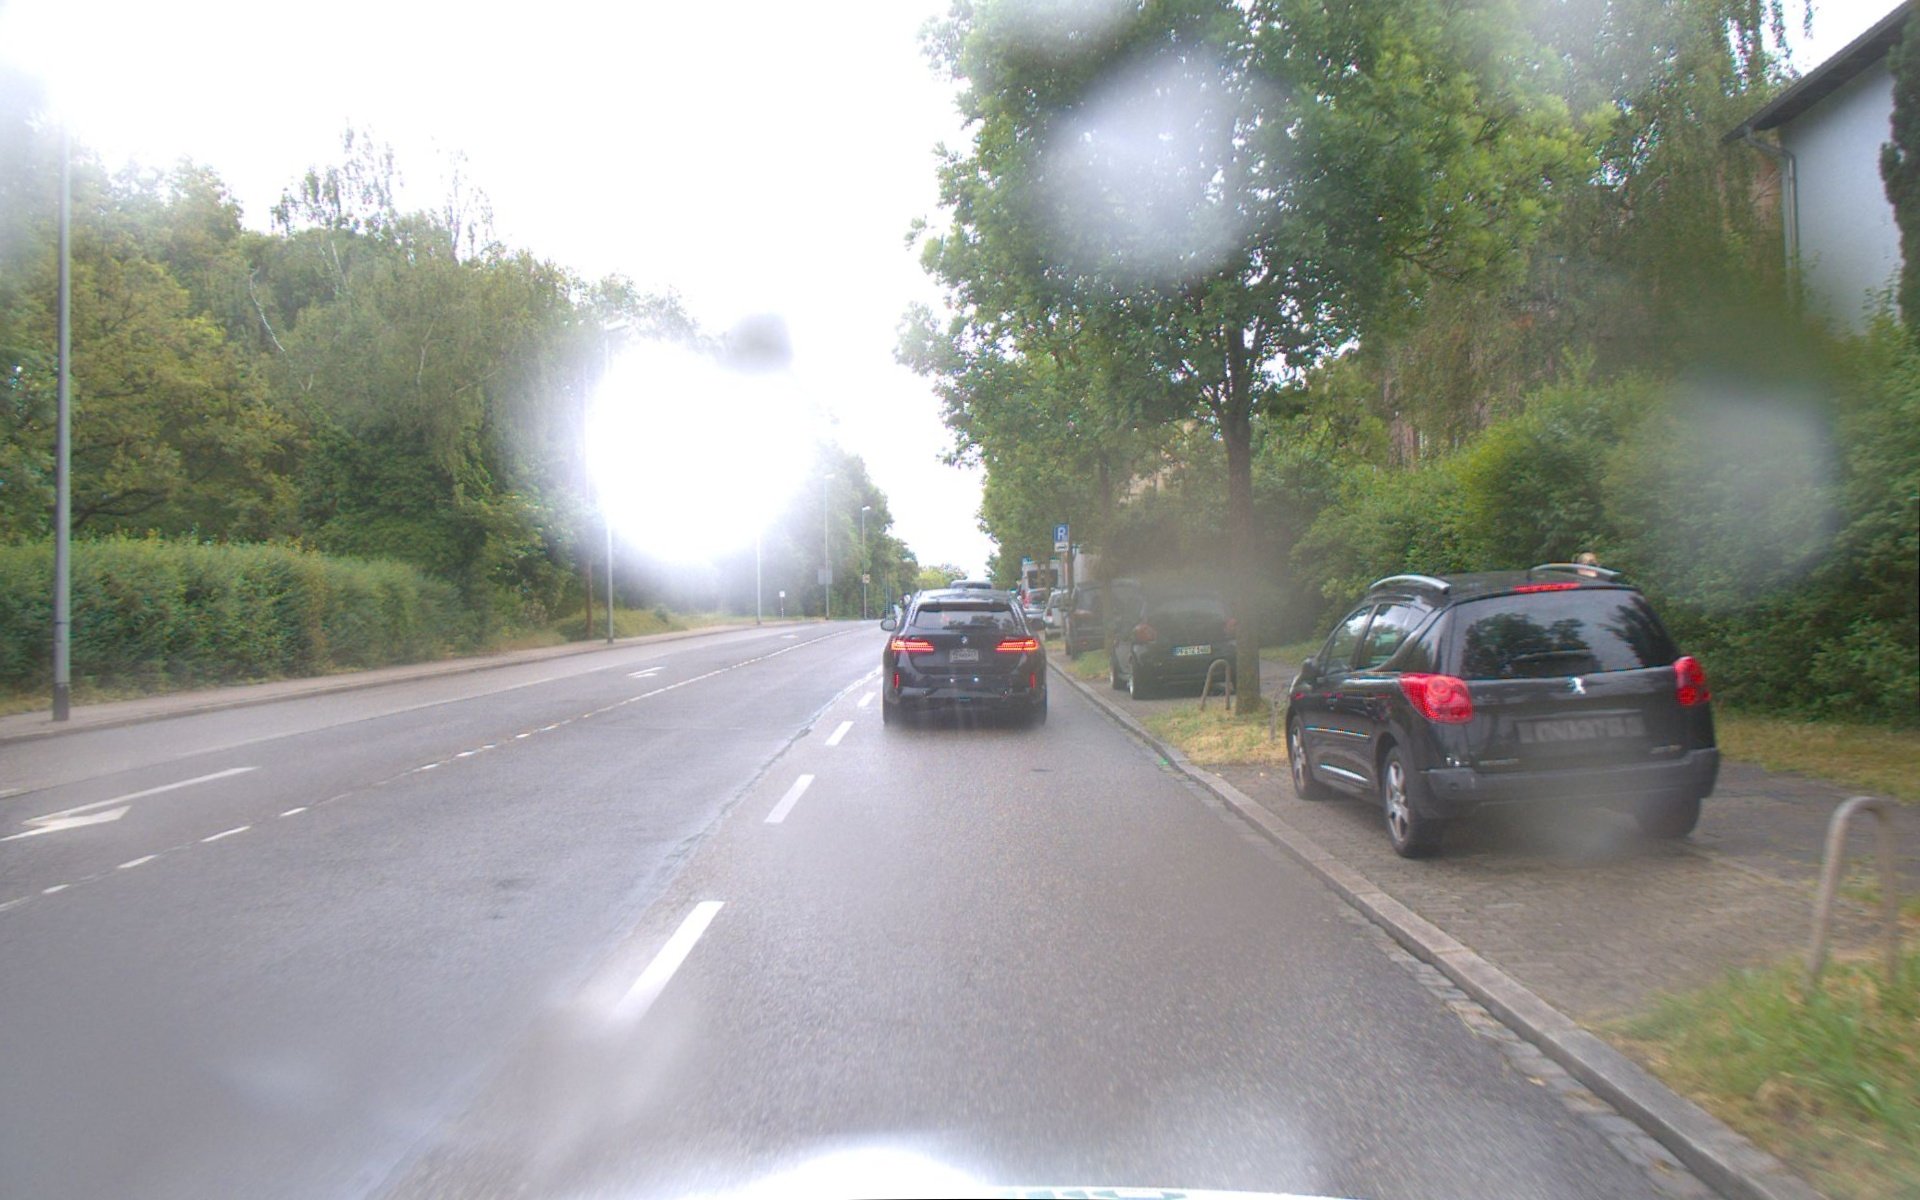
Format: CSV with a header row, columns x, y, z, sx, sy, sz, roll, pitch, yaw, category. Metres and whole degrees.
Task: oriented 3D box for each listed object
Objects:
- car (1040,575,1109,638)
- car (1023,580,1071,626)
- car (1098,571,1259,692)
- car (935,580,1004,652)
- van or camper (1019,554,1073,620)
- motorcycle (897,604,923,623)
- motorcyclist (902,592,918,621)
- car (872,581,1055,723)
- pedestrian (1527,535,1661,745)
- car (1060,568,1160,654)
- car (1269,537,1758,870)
x,y,z,sx,sy,sz,roll,pitch,yaw,category
3.302,0.145,47.548,1.786,1.630,4.476,-3,0,4,car
3.315,0.105,62.631,1.634,1.555,3.833,-4,0,4,car
3.081,0.395,24.020,1.687,1.538,3.785,-3,1,-2,car
0.322,0.477,49.579,1.952,2.049,4.001,-1,-1,2,car
3.799,-0.578,74.462,2.152,2.697,7.303,-3,0,2,van or camper
-3.018,0.807,98.930,0.810,1.137,2.173,0,0,-24,motorcycle
-2.973,0.376,98.893,0.800,1.710,0.646,0,0,-24,motorcyclist
0.022,0.571,19.830,1.953,1.478,3.999,1,0,-1,car
5.403,0.326,14.143,0.702,1.709,0.894,-2,0,-4,pedestrian
3.277,0.213,36.910,1.787,1.707,4.585,-3,0,1,car
3.206,0.500,10.451,1.608,1.623,4.013,-3,1,-1,car
